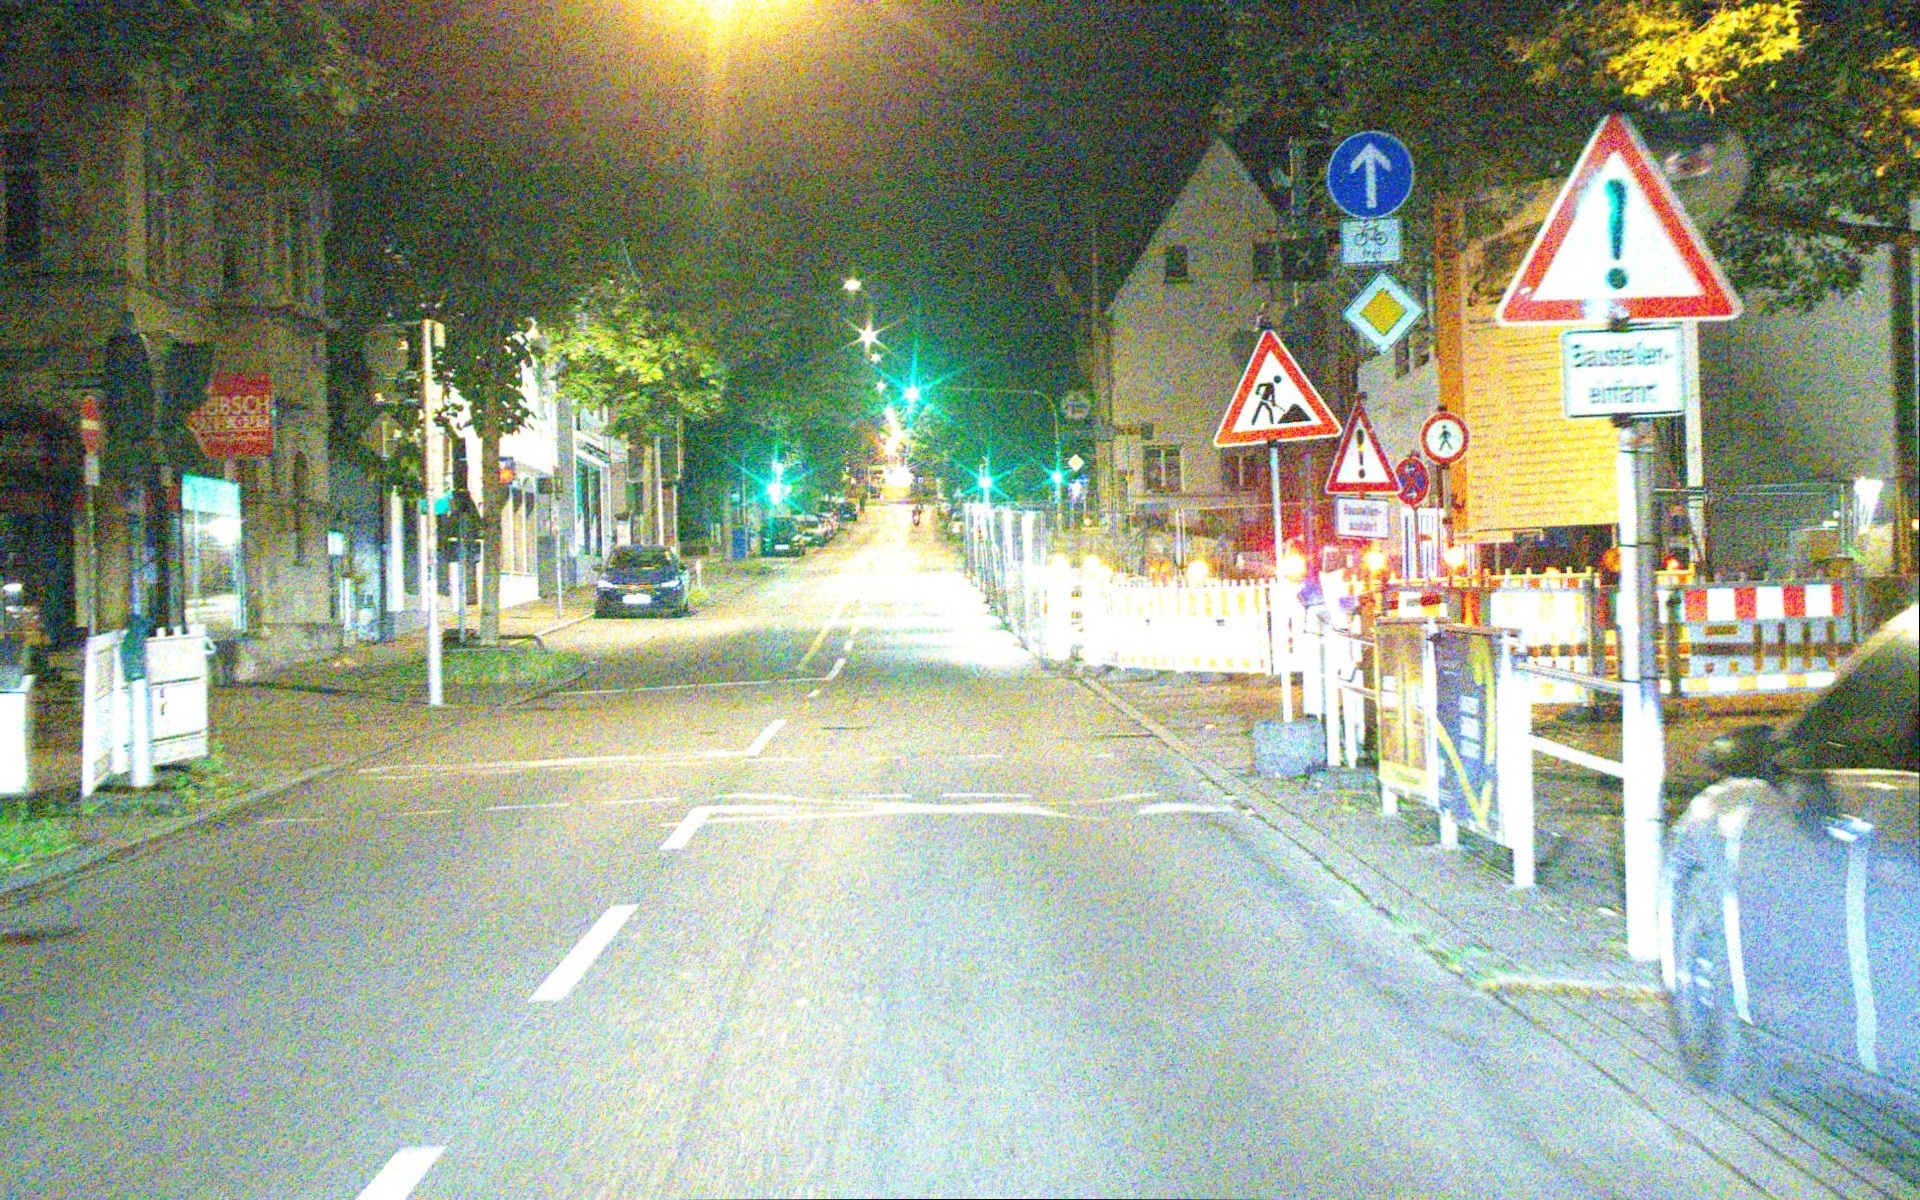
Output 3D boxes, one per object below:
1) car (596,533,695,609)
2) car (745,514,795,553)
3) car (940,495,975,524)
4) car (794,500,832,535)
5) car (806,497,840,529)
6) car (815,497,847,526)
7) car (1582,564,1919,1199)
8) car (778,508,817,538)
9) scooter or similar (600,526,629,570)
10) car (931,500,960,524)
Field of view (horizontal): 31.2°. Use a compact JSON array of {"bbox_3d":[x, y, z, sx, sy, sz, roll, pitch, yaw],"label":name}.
[{"bbox_3d":[-6.410,-0.625,70.378,1.671,1.438,4.205,-1,2,-1],"label":"car"},{"bbox_3d":[-7.843,-2.769,142.275,1.873,1.539,4.205,-1,2,-1],"label":"car"},{"bbox_3d":[-0.136,-5.077,192.846,1.873,1.539,4.205,-1,2,-1],"label":"car"},{"bbox_3d":[-7.933,-4.482,185.789,1.873,1.808,4.205,-1,2,-1],"label":"car"},{"bbox_3d":[-8.106,-5.176,204.080,1.873,1.808,4.205,-1,2,-1],"label":"car"},{"bbox_3d":[-8.309,-5.711,222.029,1.873,1.808,4.205,-1,2,0],"label":"car"},{"bbox_3d":[2.888,0.638,8.340,1.727,1.414,4.324,-2,1,-3],"label":"car"},{"bbox_3d":[-8.463,-4.040,179.751,1.873,1.539,4.205,-1,2,-1],"label":"car"},{"bbox_3d":[-9.672,-1.454,96.264,0.528,1.161,2.507,-3,0,-1],"label":"scooter or similar"},{"bbox_3d":[-0.957,-5.939,231.790,1.873,1.539,4.205,-1,2,-1],"label":"car"}]
